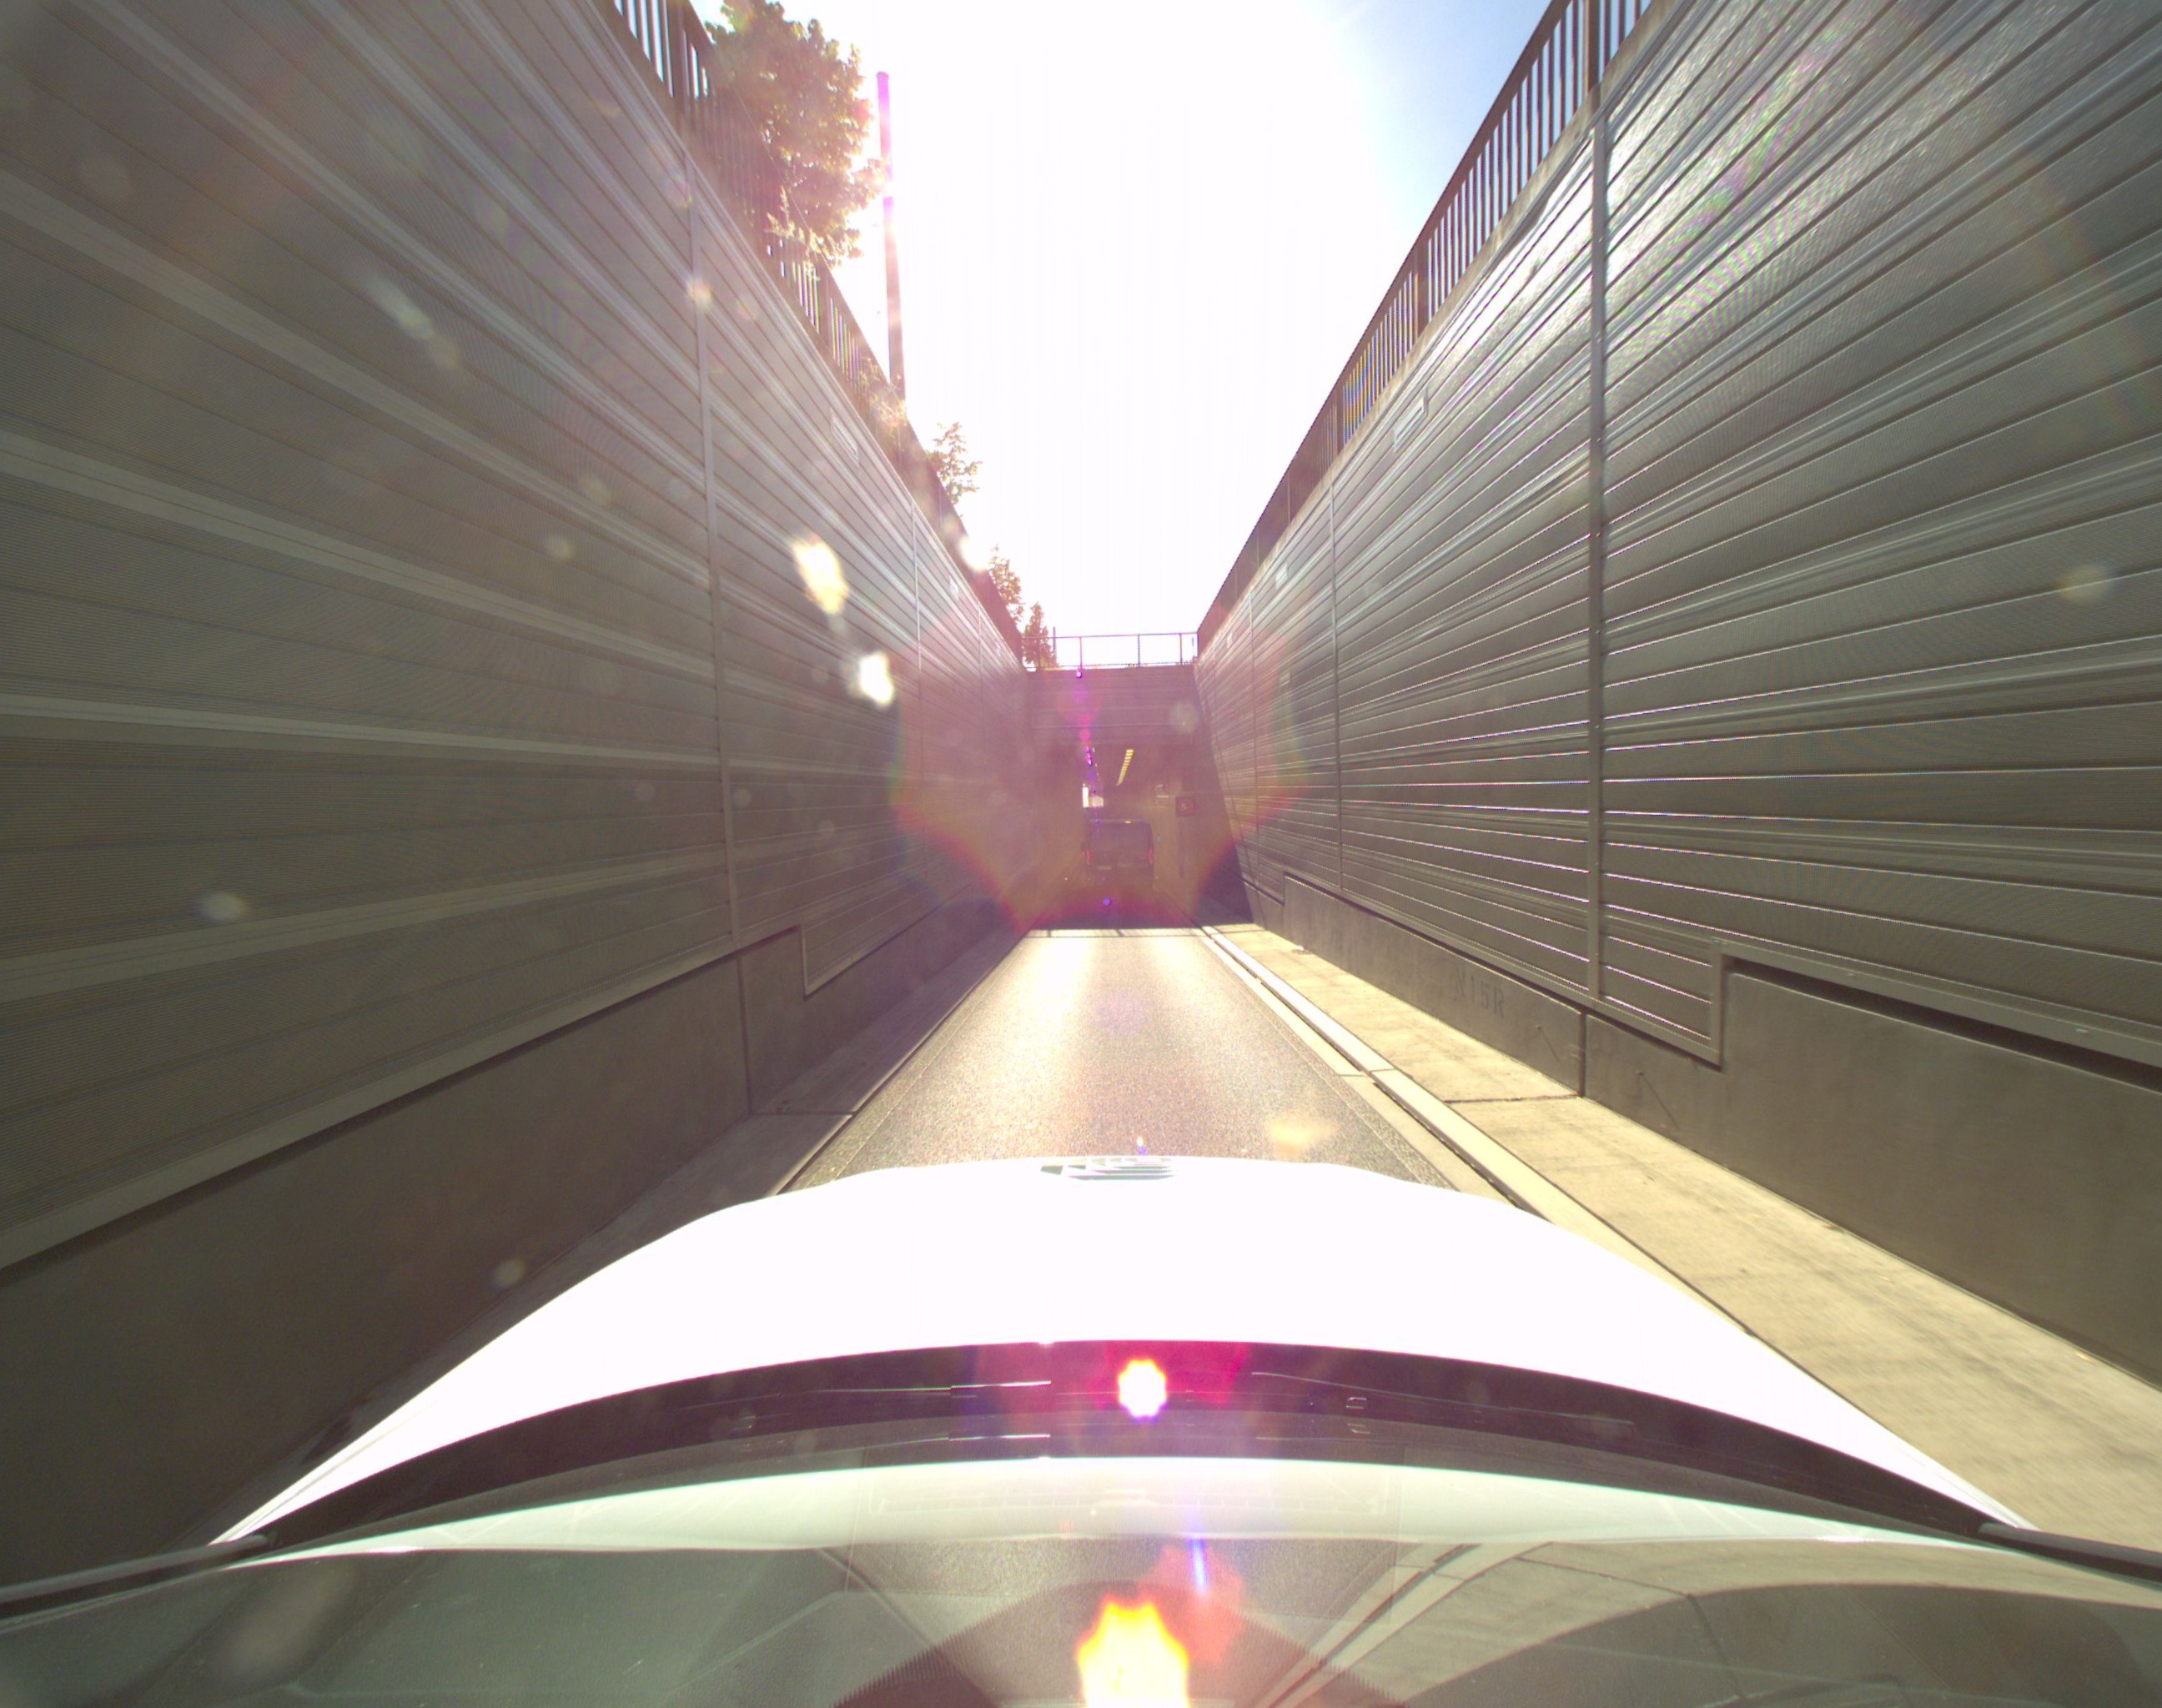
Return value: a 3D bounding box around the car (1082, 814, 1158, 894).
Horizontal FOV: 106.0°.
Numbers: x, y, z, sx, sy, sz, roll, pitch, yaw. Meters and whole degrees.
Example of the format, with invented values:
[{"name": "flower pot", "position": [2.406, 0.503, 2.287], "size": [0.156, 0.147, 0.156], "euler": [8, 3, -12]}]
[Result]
[{"name": "car", "position": [1.222, -0.047, 25.909], "size": [2.150, 2.265, 4.640], "euler": [-1, 1, 2]}]
